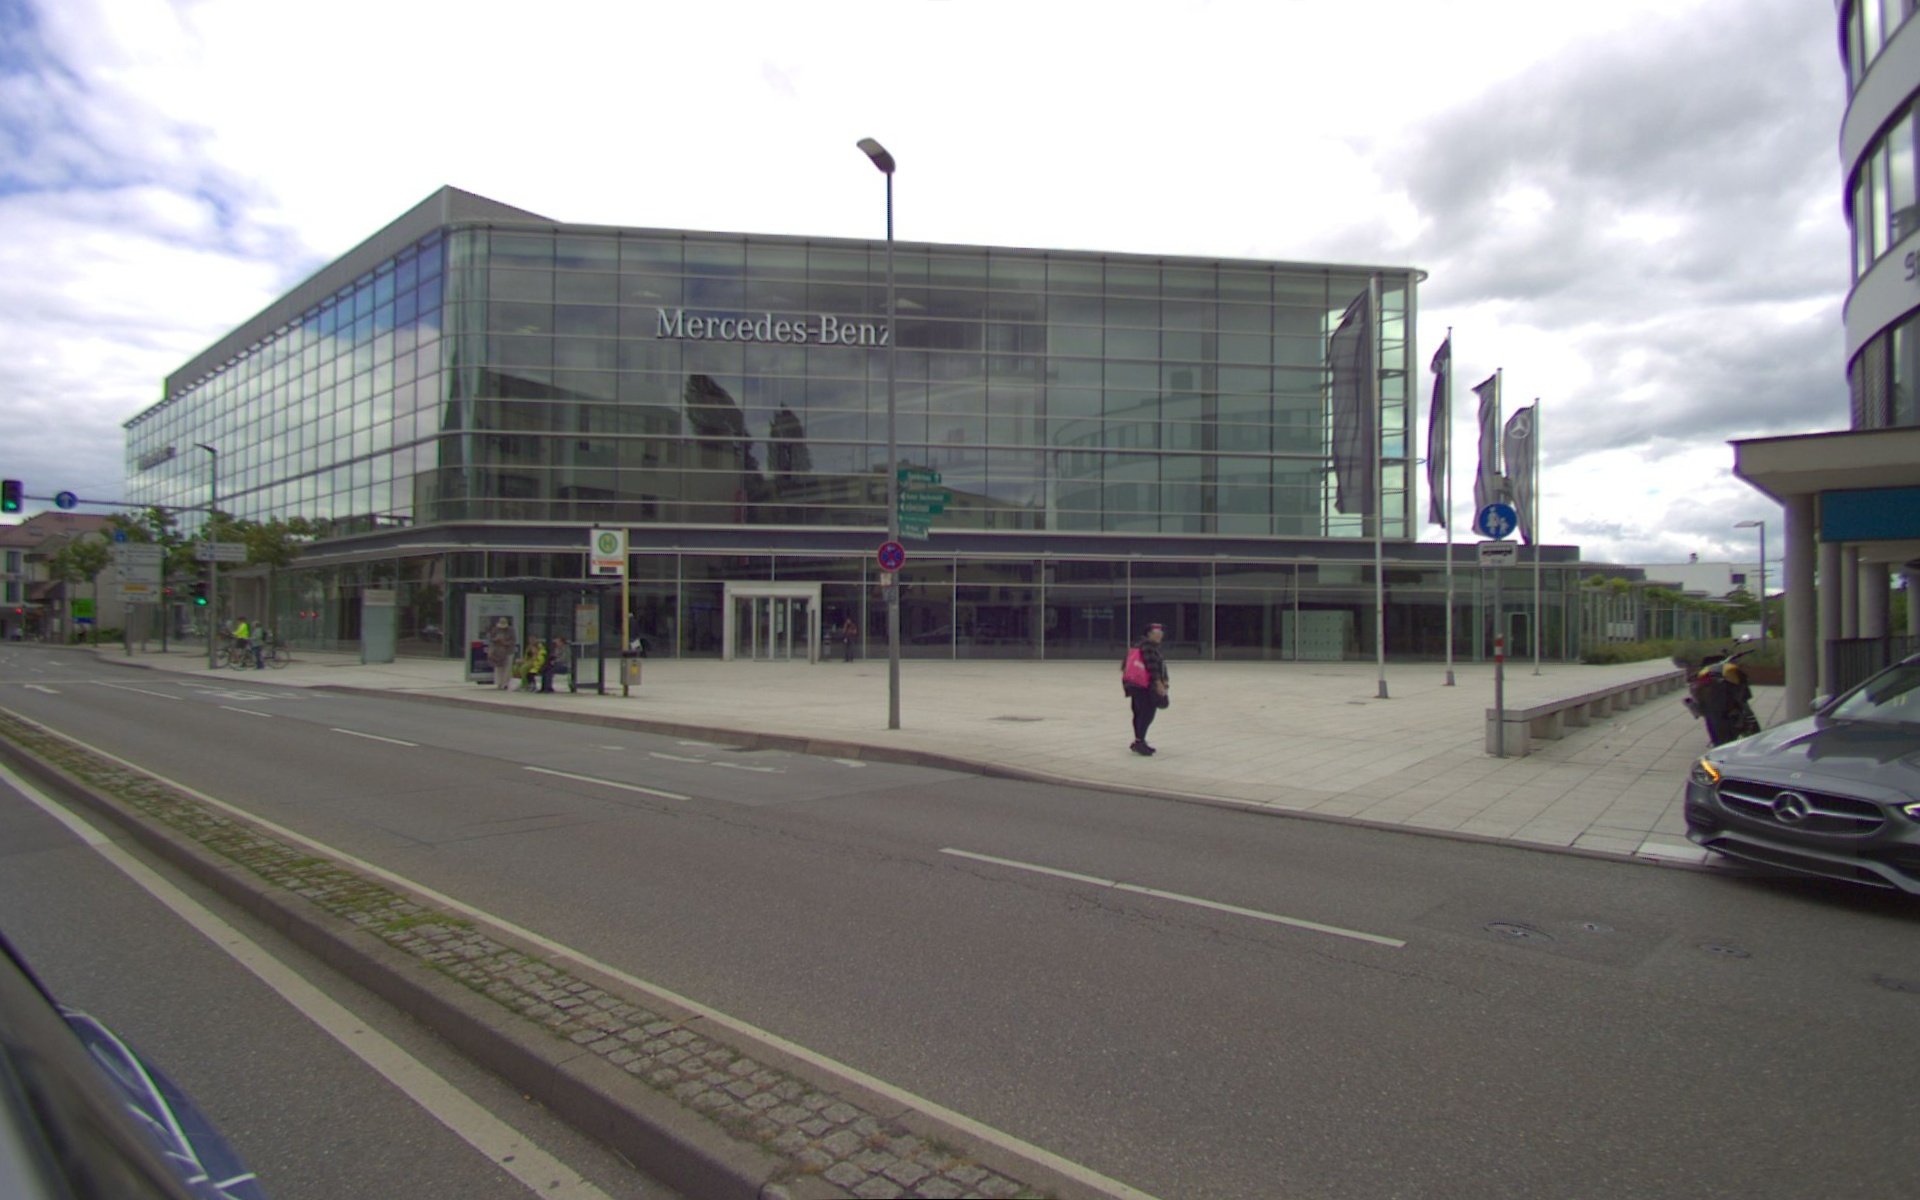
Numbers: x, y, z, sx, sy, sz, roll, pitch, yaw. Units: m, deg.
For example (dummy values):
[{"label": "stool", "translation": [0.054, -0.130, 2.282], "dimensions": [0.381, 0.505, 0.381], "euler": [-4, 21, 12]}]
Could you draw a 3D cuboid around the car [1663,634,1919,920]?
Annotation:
[{"label": "car", "translation": [7.043, 0.968, 6.521], "dimensions": [4.393, 1.426, 1.909], "euler": [-1, 0, -20]}]

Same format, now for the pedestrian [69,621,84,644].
[{"label": "pedestrian", "translation": [-64.921, 2.383, 74.384], "dimensions": [0.693, 1.636, 0.693], "euler": [-2, -3, 41]}]

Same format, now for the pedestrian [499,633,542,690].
[{"label": "pedestrian", "translation": [-9.891, 1.376, 22.795], "dimensions": [0.576, 1.263, 0.677], "euler": [-1, -3, 40]}]

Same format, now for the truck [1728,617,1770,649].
[{"label": "truck", "translation": [61.106, 2.529, 78.464], "dimensions": [2.384, 2.299, 6.358], "euler": [-1, 0, 36]}]

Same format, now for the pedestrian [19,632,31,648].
[{"label": "pedestrian", "translation": [-86.925, 3.734, 94.094], "dimensions": [0.577, 1.528, 0.552], "euler": [0, -3, 9]}]

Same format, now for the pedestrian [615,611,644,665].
[{"label": "pedestrian", "translation": [-12.165, 1.384, 37.231], "dimensions": [0.740, 1.960, 0.902], "euler": [0, -1, 2]}]

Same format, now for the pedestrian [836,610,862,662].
[{"label": "pedestrian", "translation": [-4.268, 1.376, 38.916], "dimensions": [0.747, 1.960, 0.680], "euler": [-1, -1, 28]}]

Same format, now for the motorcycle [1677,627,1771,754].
[{"label": "motorcycle", "translation": [9.096, 1.020, 12.025], "dimensions": [0.636, 1.343, 1.833], "euler": [-1, -1, 44]}]

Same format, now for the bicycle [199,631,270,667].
[{"label": "bicycle", "translation": [-26.457, 1.770, 36.923], "dimensions": [2.000, 1.215, 0.748], "euler": [-1, 0, -5]}]

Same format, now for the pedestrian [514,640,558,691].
[{"label": "pedestrian", "translation": [-9.390, 1.450, 22.428], "dimensions": [0.576, 1.084, 0.677], "euler": [-1, -4, 40]}]

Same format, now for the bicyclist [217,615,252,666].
[{"label": "bicyclist", "translation": [-26.464, 1.470, 36.926], "dimensions": [0.762, 1.813, 0.748], "euler": [-1, 0, -5]}]

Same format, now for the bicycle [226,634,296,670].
[{"label": "bicycle", "translation": [-24.189, 1.785, 35.067], "dimensions": [1.973, 1.139, 0.640], "euler": [-1, 0, -34]}]

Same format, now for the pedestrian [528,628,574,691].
[{"label": "pedestrian", "translation": [-8.887, 1.285, 21.990], "dimensions": [0.576, 1.330, 0.677], "euler": [-1, -4, 40]}]

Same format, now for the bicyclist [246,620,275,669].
[{"label": "bicyclist", "translation": [-24.217, 1.528, 35.038], "dimensions": [0.771, 1.661, 0.640], "euler": [-1, 0, -34]}]

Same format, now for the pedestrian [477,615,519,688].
[{"label": "pedestrian", "translation": [-10.504, 1.169, 23.033], "dimensions": [0.568, 1.644, 0.686], "euler": [1, -3, 0]}]

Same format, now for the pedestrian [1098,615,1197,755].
[{"label": "pedestrian", "translation": [2.240, 0.974, 12.087], "dimensions": [0.820, 1.579, 0.814], "euler": [0, -1, -44]}]
